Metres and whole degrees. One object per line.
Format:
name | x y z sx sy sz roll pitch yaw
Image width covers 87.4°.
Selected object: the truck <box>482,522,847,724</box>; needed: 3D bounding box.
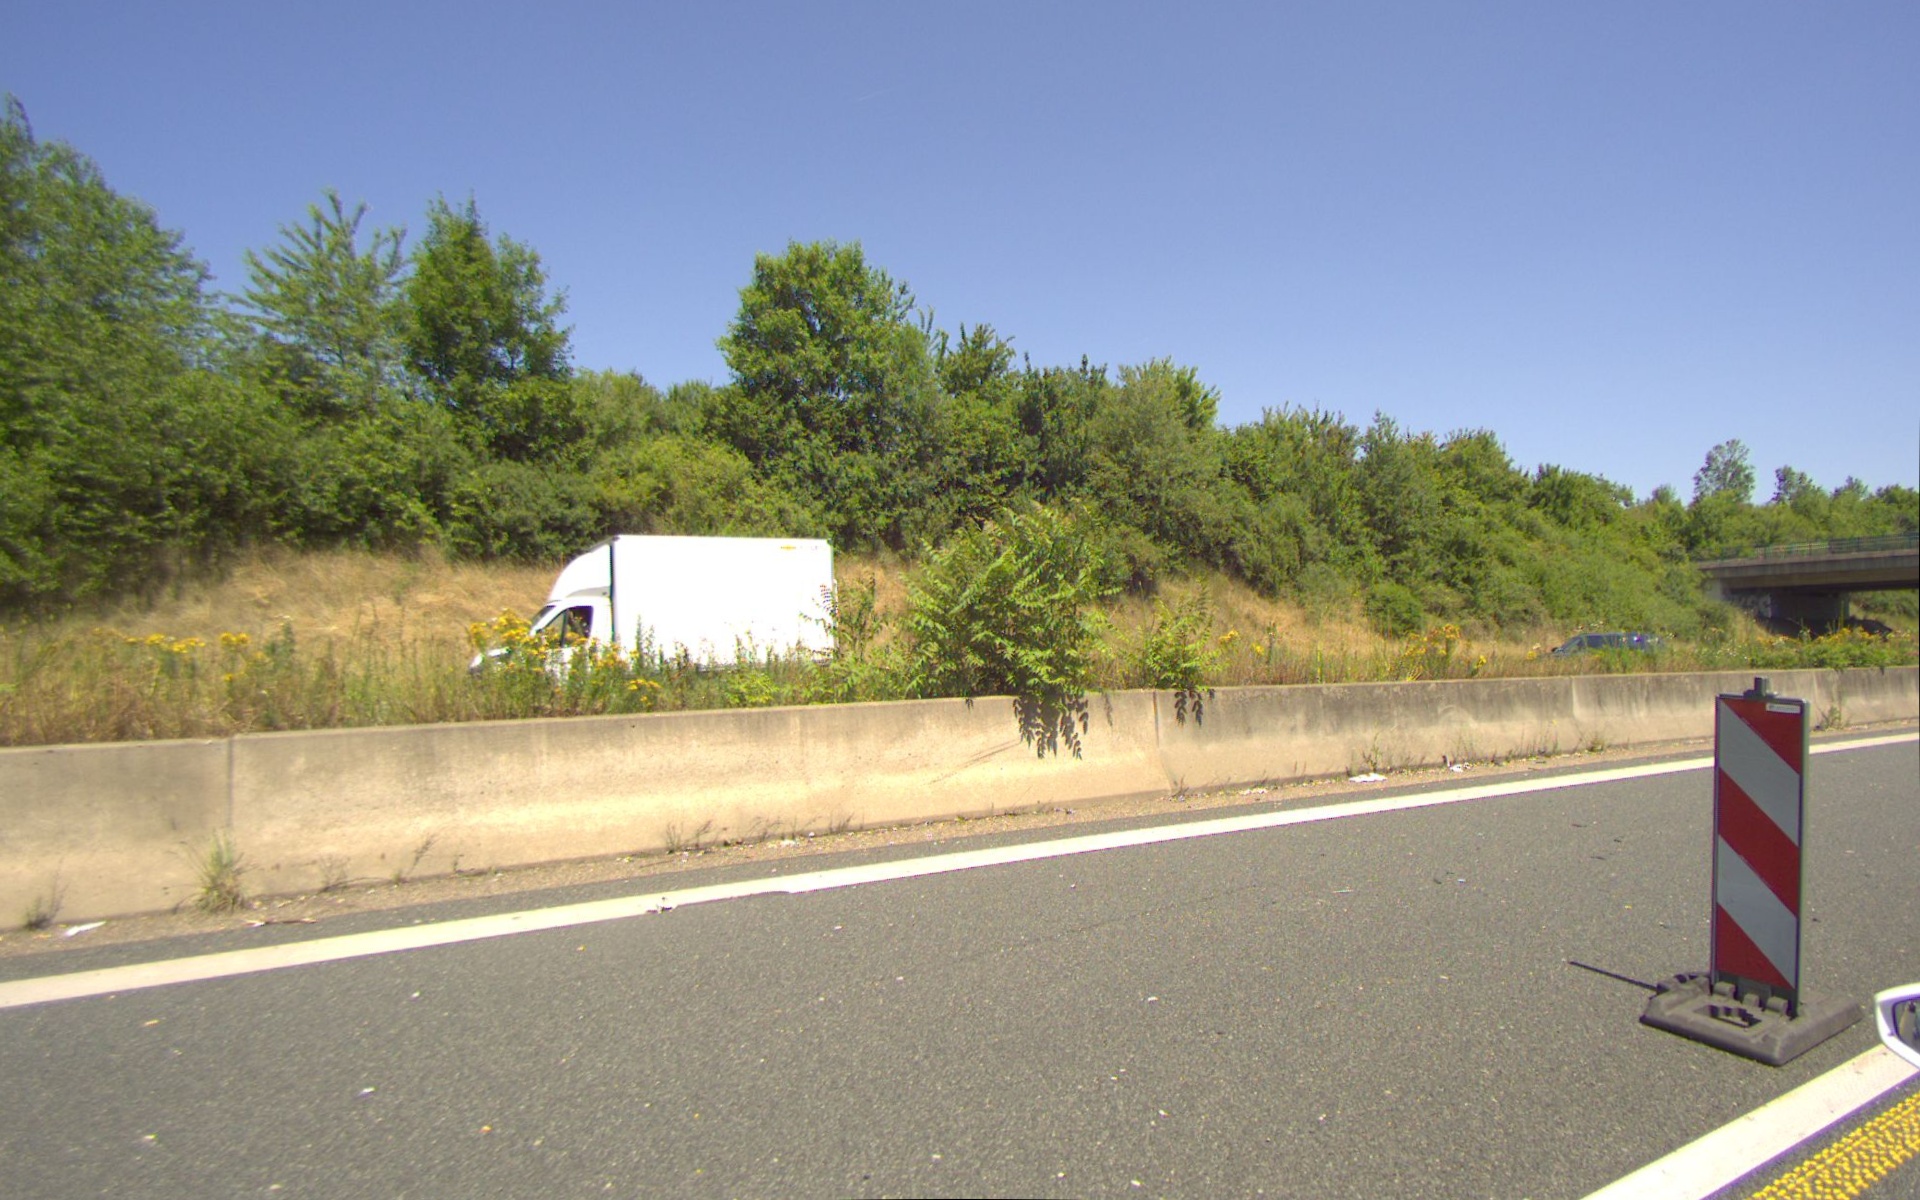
truck | -5.529 0.458 19.177 6.291 3.302 2.483 1 -2 -31
